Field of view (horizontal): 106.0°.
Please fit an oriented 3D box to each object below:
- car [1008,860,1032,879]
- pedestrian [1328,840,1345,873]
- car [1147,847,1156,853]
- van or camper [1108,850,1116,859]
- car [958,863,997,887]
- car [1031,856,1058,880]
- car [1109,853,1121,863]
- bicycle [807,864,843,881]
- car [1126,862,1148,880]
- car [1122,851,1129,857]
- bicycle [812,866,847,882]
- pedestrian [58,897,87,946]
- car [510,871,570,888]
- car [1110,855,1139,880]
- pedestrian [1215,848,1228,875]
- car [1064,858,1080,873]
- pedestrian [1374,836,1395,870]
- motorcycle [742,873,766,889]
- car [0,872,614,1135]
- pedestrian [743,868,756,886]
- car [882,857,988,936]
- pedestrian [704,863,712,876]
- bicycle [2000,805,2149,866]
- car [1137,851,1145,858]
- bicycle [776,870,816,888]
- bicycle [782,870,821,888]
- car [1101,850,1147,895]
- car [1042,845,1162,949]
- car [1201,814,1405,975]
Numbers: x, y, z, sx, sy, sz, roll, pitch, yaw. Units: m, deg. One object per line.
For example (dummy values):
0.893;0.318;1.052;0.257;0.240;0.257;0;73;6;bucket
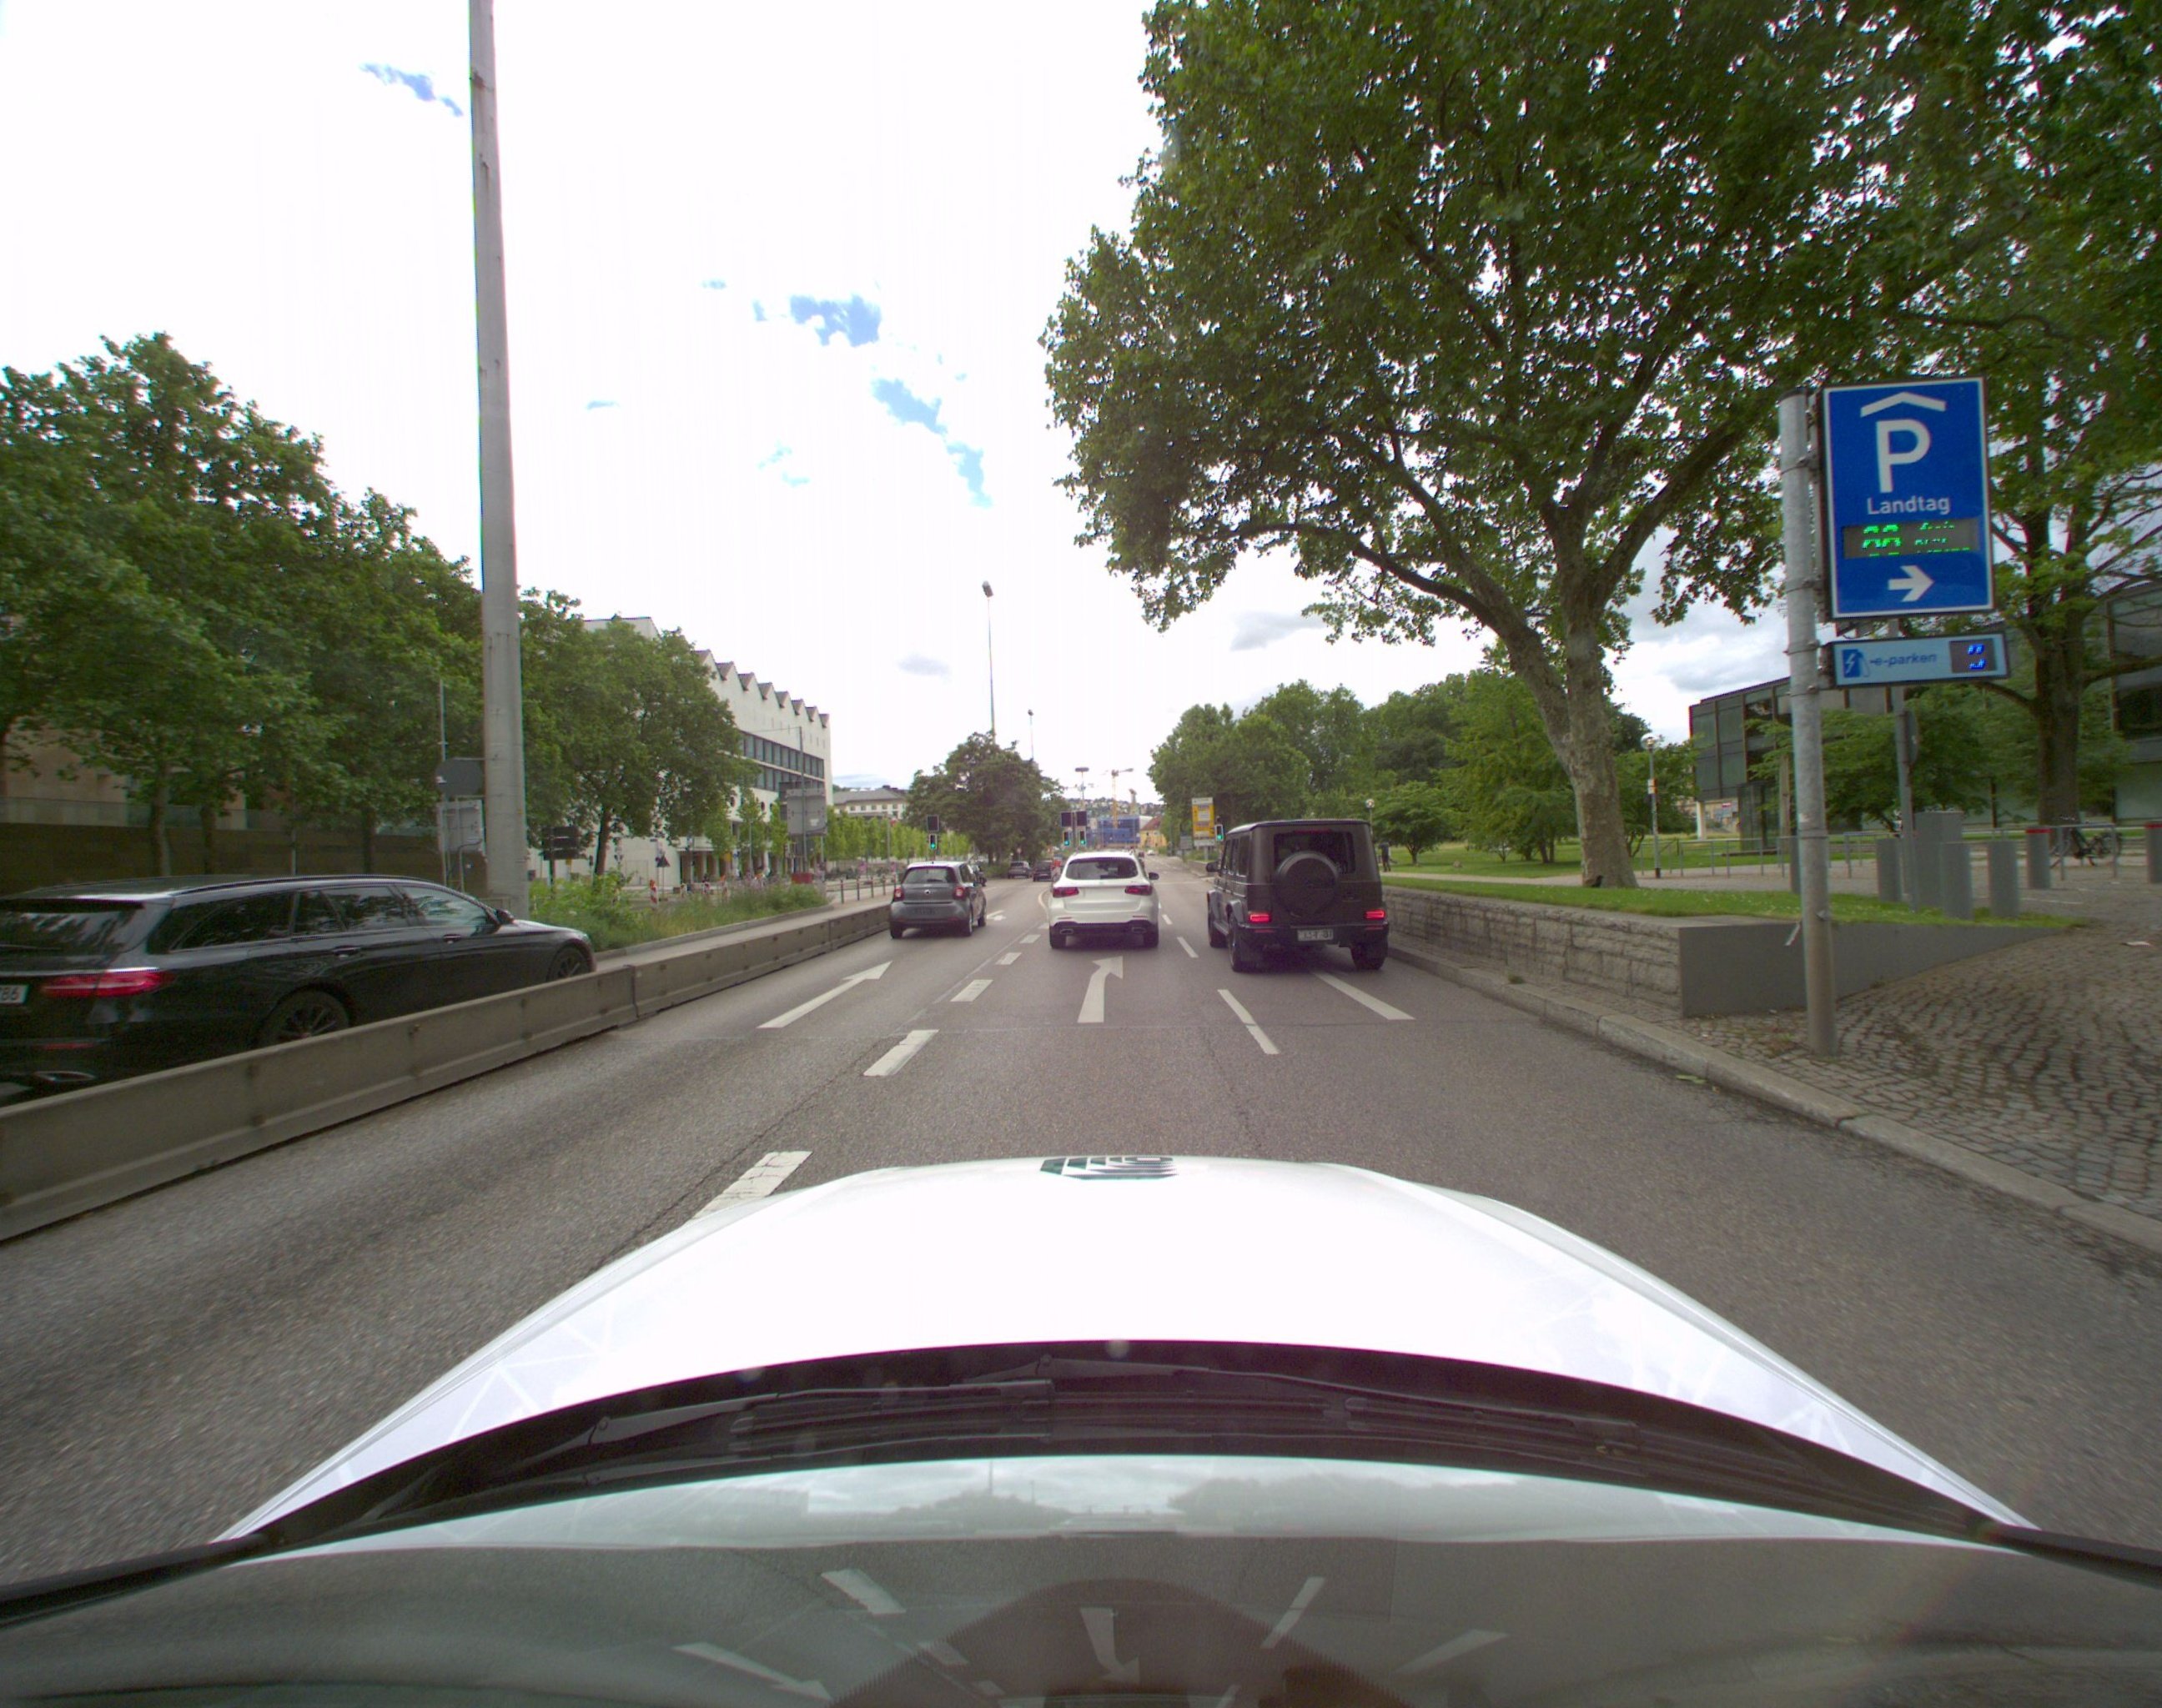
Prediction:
-5.254;1.311;70.313;1.747;1.553;4.000;0;0;1;car
12.623;0.114;40.234;0.677;1.562;0.913;-3;0;19;pedestrian
18.952;-1.103;220.212;1.989;1.618;3.996;0;-1;-3;car
8.144;0.203;212.646;1.915;2.320;4.001;-1;-2;1;van or camper
-5.872;1.168;46.562;1.713;1.292;4.000;0;0;0;car
-2.564;0.985;58.427;1.713;1.678;4.000;0;0;0;car
5.950;0.716;141.073;1.985;1.757;4.003;0;-1;3;car
-29.037;2.076;92.352;3.612;1.684;1.179;-3;0;-9;bicycle
5.182;1.529;75.732;1.713;1.585;4.000;0;0;0;car
12.372;0.083;224.400;1.713;1.585;4.000;0;0;0;car
-29.120;2.296;94.414;3.612;1.684;1.179;-3;0;-9;bicycle
-33.786;2.252;27.280;0.353;1.608;0.443;0;-1;-4;pedestrian
-46.268;2.154;69.704;3.972;1.276;1.752;-2;-1;1;car
2.823;0.862;53.326;1.713;1.585;4.000;0;0;0;car
8.811;0.489;51.177;0.695;1.656;0.684;0;-1;1;pedestrian
-0.973;1.237;89.179;1.714;1.585;3.998;0;0;-1;car
14.766;-0.037;39.593;0.797;1.626;0.628;-3;0;10;pedestrian
-28.735;2.383;71.557;1.892;1.234;0.654;-2;-3;-23;motorcycle
-6.414;0.914;7.110;1.806;1.460;4.862;1;-1;0;car
-30.153;2.102;74.154;0.887;1.557;0.591;-2;-1;-41;pedestrian
-3.046;0.858;17.647;1.622;1.509;3.539;-1;-1;0;car
-38.744;1.635;84.687;0.517;1.327;0.565;-3;-2;2;pedestrian
20.746;-0.382;17.036;2.183;1.141;0.686;-3;0;2;bicycle
14.526;0.121;196.808;1.713;1.585;4.000;0;0;0;car
-29.461;2.582;84.197;3.601;1.684;1.183;-3;0;0;bicycle
-29.692;2.650;86.632;3.601;1.684;1.183;-3;0;0;bicycle
1.672;0.726;31.764;1.665;1.628;4.002;0;-1;3;car
0.392;0.723;15.103;1.933;1.684;4.001;0;-1;1;car
2.952;0.515;11.942;1.969;1.893;4.711;0;-1;3;car
